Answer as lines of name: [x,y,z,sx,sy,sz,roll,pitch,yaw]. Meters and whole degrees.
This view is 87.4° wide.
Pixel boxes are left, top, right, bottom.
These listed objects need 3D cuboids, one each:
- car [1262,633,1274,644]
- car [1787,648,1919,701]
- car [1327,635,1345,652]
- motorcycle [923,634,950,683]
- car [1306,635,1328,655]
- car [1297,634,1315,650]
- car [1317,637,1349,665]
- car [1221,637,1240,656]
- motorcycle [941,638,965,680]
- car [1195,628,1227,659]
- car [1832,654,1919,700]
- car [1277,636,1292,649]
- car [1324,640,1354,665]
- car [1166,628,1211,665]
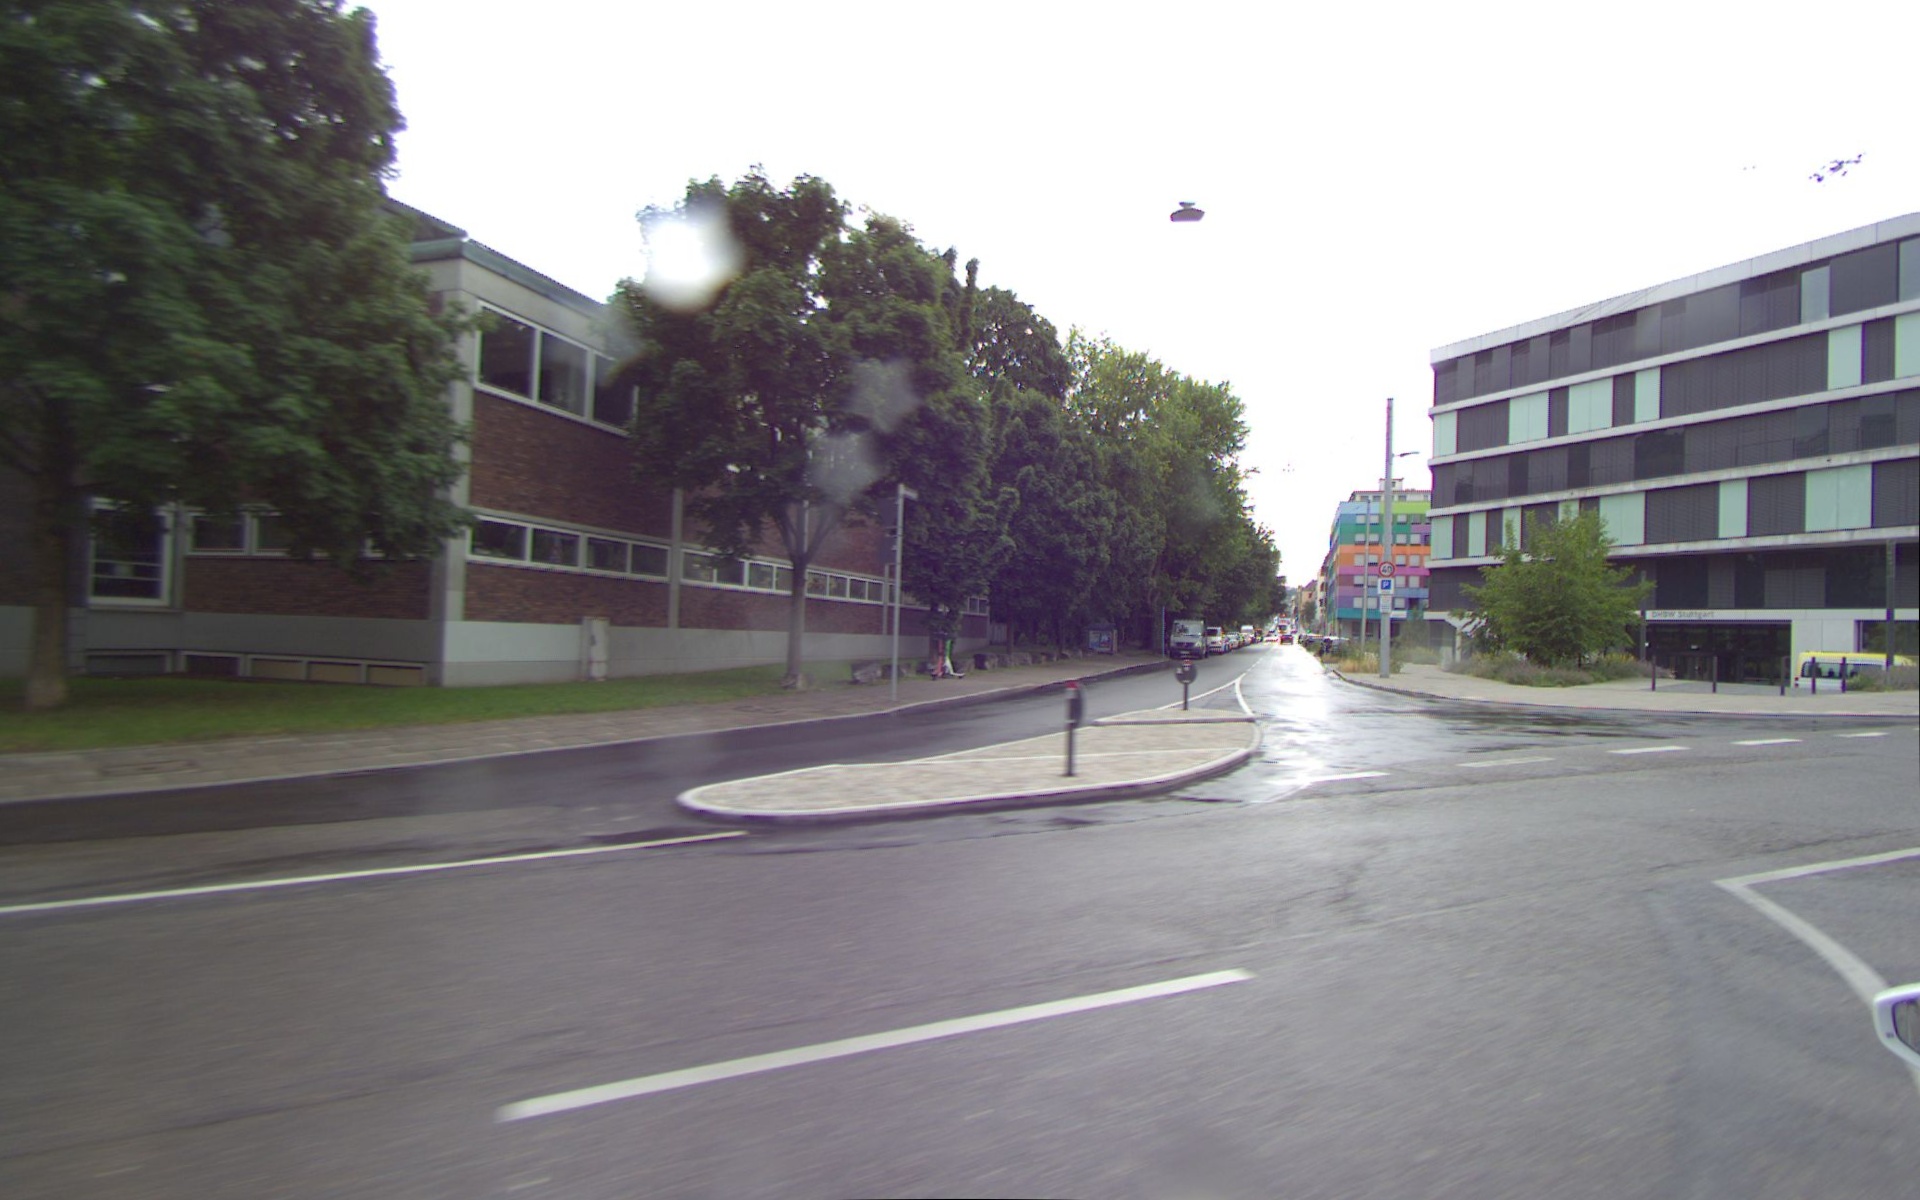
car: [50.936,6.387,166.076,1.712,1.628,3.899,2,-1,15]
car: [42.426,3.483,47.620,1.910,2.203,4.566,2,-1,-31]
car: [34.483,4.000,92.160,1.414,1.514,3.638,0,-1,22]
motorcycle: [-0.591,1.495,25.880,0.404,1.200,1.228,2,-1,11]
car: [36.253,4.534,102.046,1.960,1.864,4.001,1,-1,19]
car: [40.826,4.944,118.606,1.960,1.864,4.001,1,-1,19]
car: [25.881,3.512,69.653,1.884,1.762,3.999,2,-1,22]
car: [26.183,4.501,97.363,1.712,1.628,3.868,2,-1,15]
motorcycle: [-0.191,1.633,27.907,0.404,1.139,1.171,2,-2,11]
car: [18.315,3.127,73.242,2.126,2.124,4.840,2,-1,15]
car: [45.963,3.792,49.433,1.577,2.059,4.328,2,-1,-26]
car: [45.978,5.986,142.337,1.961,1.682,4.000,2,-1,20]
car: [24.120,3.321,63.863,1.636,1.469,3.867,2,-1,22]
car: [13.729,2.757,60.150,2.036,2.070,4.279,2,-1,20]
